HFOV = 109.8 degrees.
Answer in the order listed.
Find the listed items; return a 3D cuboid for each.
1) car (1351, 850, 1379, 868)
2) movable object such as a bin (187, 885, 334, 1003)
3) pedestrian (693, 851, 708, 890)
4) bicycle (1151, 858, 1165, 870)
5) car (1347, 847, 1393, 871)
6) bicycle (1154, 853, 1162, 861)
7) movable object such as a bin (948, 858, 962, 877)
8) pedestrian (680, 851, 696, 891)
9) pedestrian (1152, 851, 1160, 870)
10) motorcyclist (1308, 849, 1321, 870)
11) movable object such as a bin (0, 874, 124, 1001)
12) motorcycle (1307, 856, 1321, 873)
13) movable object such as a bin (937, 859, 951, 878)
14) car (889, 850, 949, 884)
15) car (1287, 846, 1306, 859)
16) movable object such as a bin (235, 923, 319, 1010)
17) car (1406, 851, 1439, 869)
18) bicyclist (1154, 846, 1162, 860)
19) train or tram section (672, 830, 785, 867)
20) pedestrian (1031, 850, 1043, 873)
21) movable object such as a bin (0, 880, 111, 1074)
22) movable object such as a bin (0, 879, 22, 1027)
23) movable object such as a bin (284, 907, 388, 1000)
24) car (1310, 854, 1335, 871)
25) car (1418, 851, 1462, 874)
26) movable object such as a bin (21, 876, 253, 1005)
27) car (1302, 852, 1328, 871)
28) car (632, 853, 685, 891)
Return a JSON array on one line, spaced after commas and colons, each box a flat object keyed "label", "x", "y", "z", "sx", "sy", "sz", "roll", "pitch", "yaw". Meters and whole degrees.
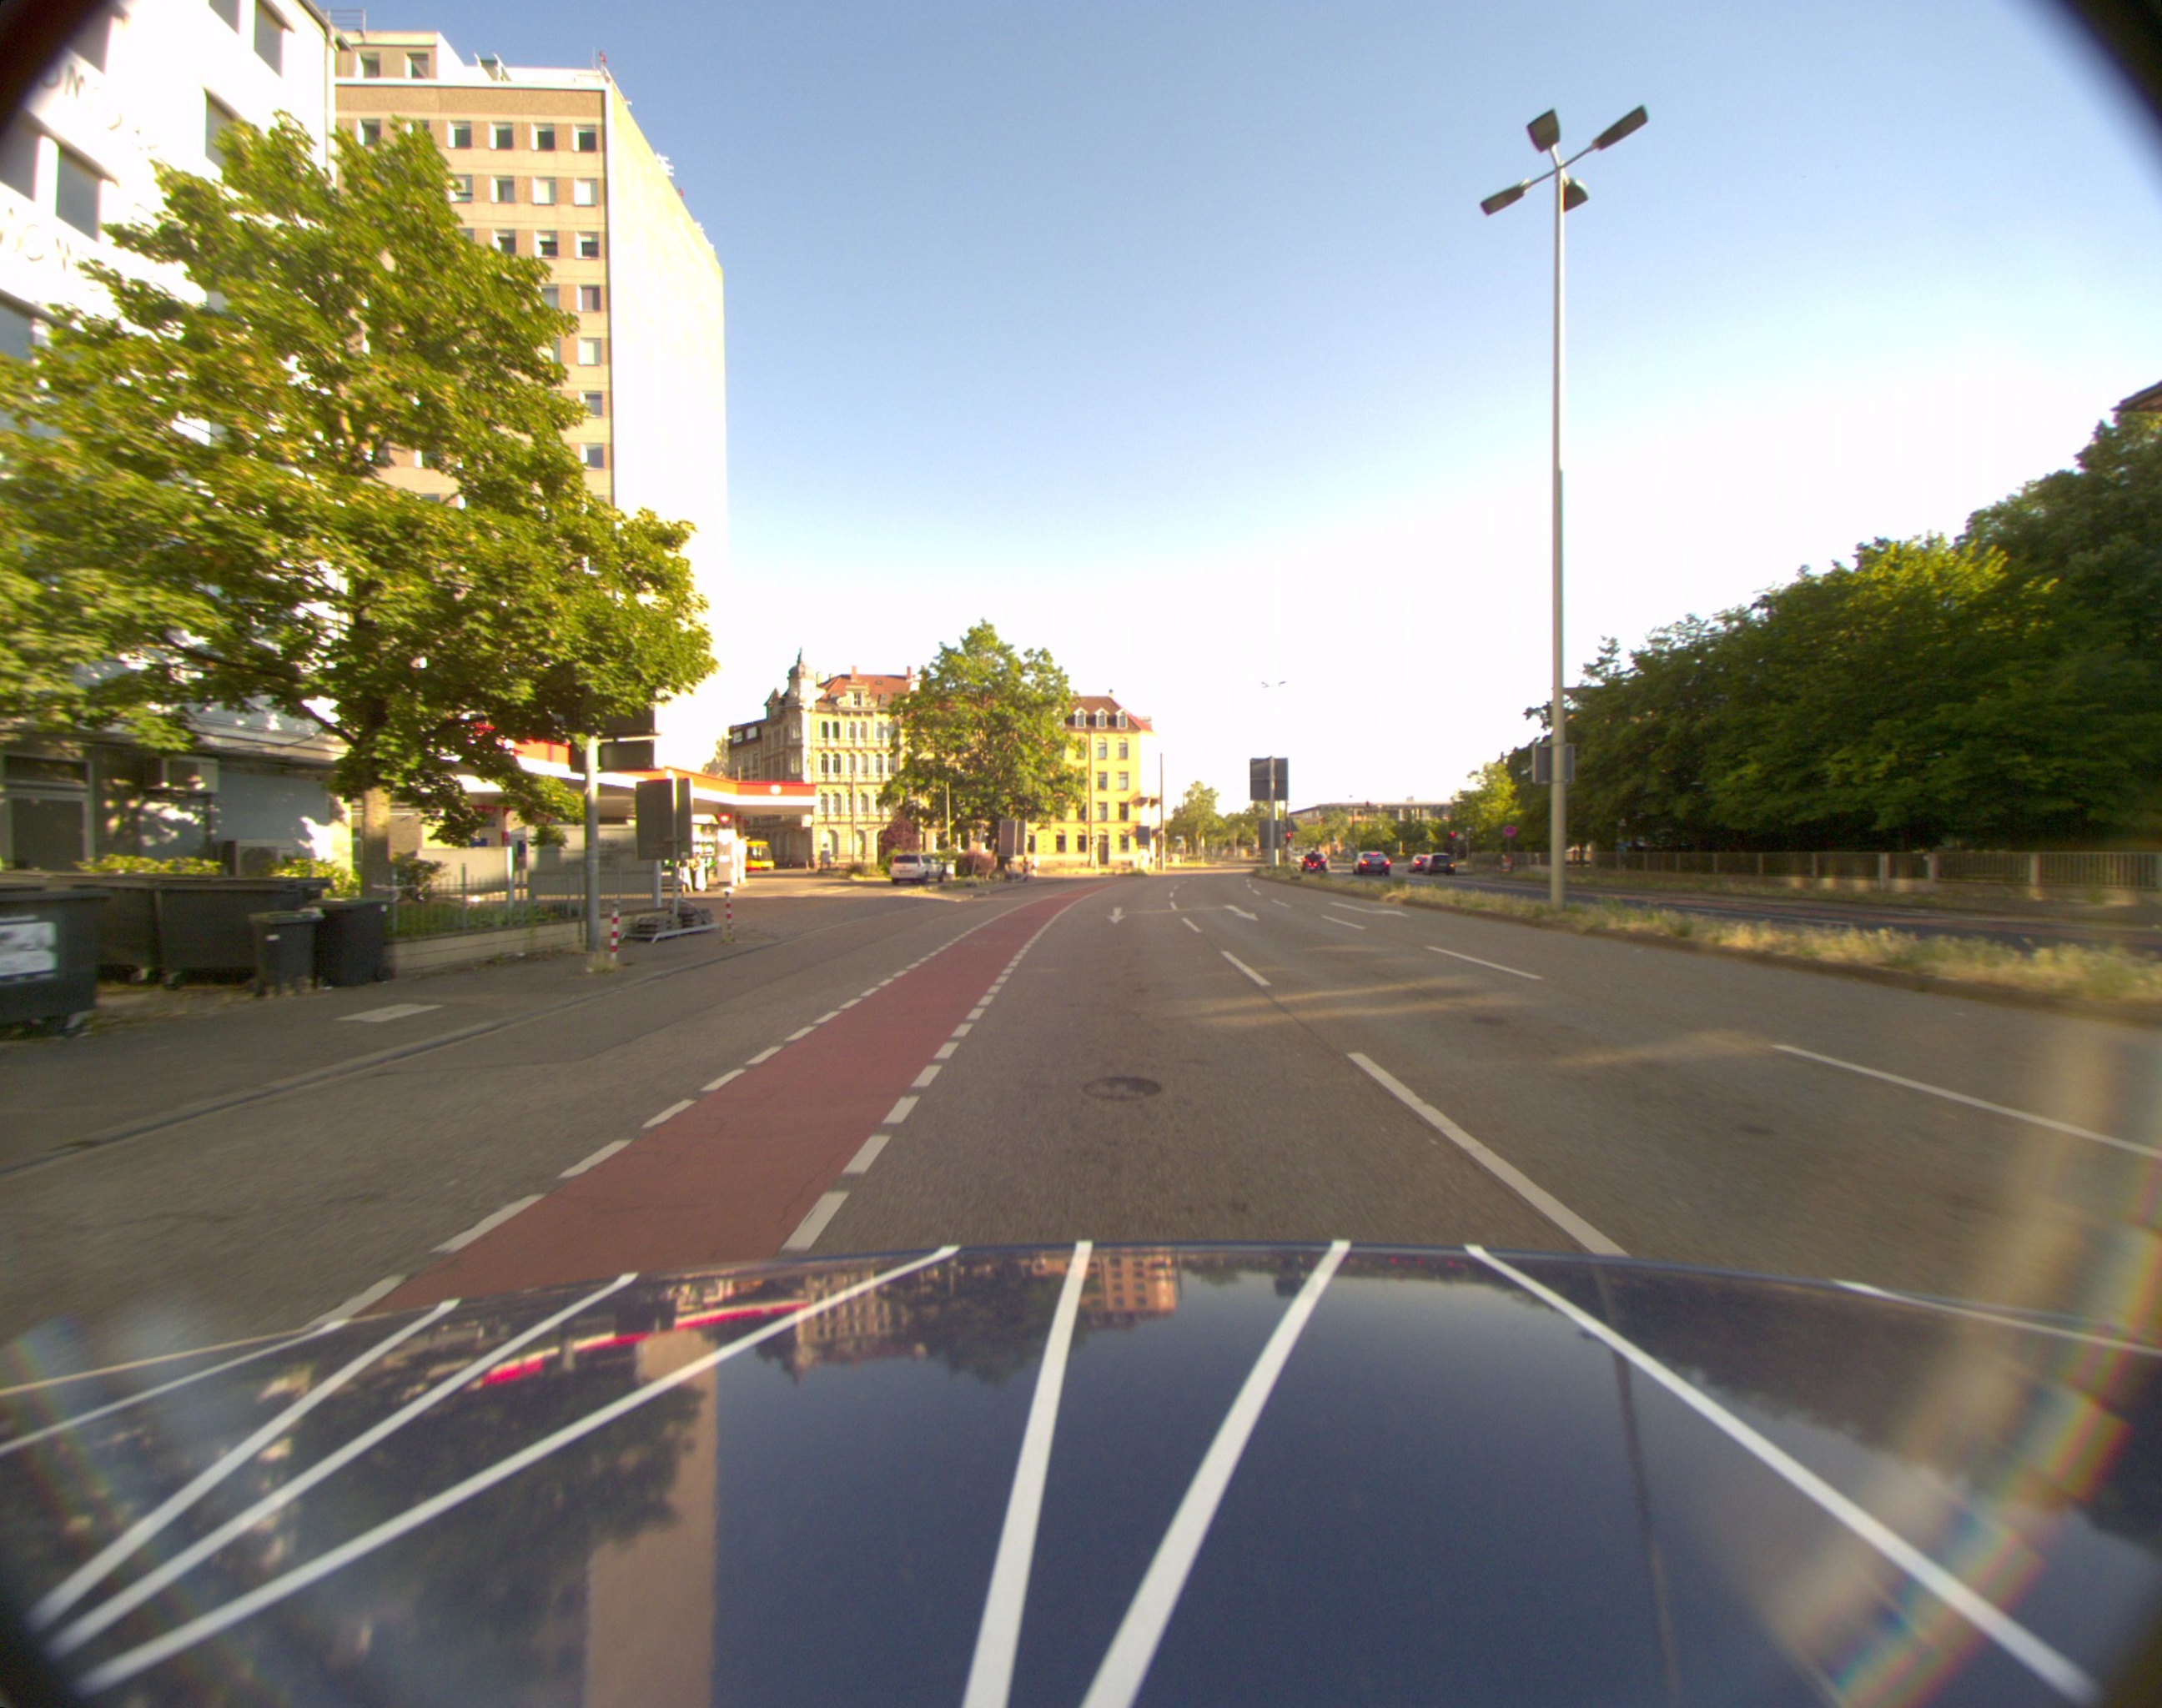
[{"label": "car", "x": 21.338, "y": 0.345, "z": 57.201, "sx": 1.721, "sy": 1.311, "sz": 3.899, "roll": 0, "pitch": 0, "yaw": 16}, {"label": "movable object such as a bin", "x": -9.699, "y": 1.035, "z": 9.020, "sx": 0.779, "sy": 1.301, "sz": 0.865, "roll": 0, "pitch": 1, "yaw": 0}, {"label": "pedestrian", "x": -15.771, "y": 0.671, "z": 31.490, "sx": 0.535, "sy": 1.612, "sz": 0.567, "roll": -1, "pitch": 1, "yaw": -26}, {"label": "bicycle", "x": 6.857, "y": 0.899, "z": 67.839, "sx": 0.398, "sy": 1.023, "sz": 1.675, "roll": 0, "pitch": 1, "yaw": 37}, {"label": "car", "x": 18.831, "y": 0.297, "z": 49.704, "sx": 1.997, "sy": 1.487, "sz": 5.297, "roll": 0, "pitch": 0, "yaw": 12}, {"label": "bicycle", "x": 10.309, "y": 0.447, "z": 101.951, "sx": 1.071, "sy": 1.018, "sz": 2.976, "roll": 0, "pitch": 0, "yaw": 6}, {"label": "movable object such as a bin", "x": -6.913, "y": 0.752, "z": 41.761, "sx": 0.573, "sy": 1.023, "sz": 0.674, "roll": 0, "pitch": 1, "yaw": 5}, {"label": "pedestrian", "x": -15.828, "y": 0.670, "z": 30.604, "sx": 0.535, "sy": 1.612, "sz": 0.567, "roll": -1, "pitch": 1, "yaw": -23}, {"label": "pedestrian", "x": 6.707, "y": 0.583, "z": 67.854, "sx": 0.488, "sy": 1.622, "sz": 0.526, "roll": 0, "pitch": 1, "yaw": 36}, {"label": "motorcyclist", "x": 15.563, "y": 0.382, "z": 50.669, "sx": 0.852, "sy": 1.390, "sz": 1.063, "roll": 0, "pitch": 1, "yaw": 18}, {"label": "movable object such as a bin", "x": -12.581, "y": 0.955, "z": 8.988, "sx": 1.409, "sy": 1.402, "sz": 0.865, "roll": 0, "pitch": 1, "yaw": 0}, {"label": "motorcycle", "x": 15.590, "y": 0.665, "z": 50.788, "sx": 0.859, "sy": 1.101, "sz": 2.473, "roll": 0, "pitch": 0, "yaw": 18}, {"label": "movable object such as a bin", "x": -7.533, "y": 0.782, "z": 41.794, "sx": 0.573, "sy": 1.023, "sz": 0.674, "roll": 0, "pitch": 1, "yaw": 5}, {"label": "car", "x": -7.855, "y": 0.596, "z": 37.195, "sx": 1.622, "sy": 1.584, "sz": 3.896, "roll": 0, "pitch": 1, "yaw": 8}, {"label": "car", "x": 27.891, "y": -0.210, "z": 98.566, "sx": 1.997, "sy": 1.565, "sz": 4.003, "roll": 0, "pitch": 0, "yaw": 11}, {"label": "movable object such as a bin", "x": -9.047, "y": 1.256, "z": 8.561, "sx": 0.393, "sy": 0.901, "sz": 0.490, "roll": 0, "pitch": 1, "yaw": 4}, {"label": "car", "x": 25.591, "y": 0.431, "z": 57.087, "sx": 1.721, "sy": 1.289, "sz": 3.899, "roll": 0, "pitch": 0, "yaw": 16}, {"label": "bicyclist", "x": 10.307, "y": -0.175, "z": 101.825, "sx": 1.071, "sy": 1.831, "sz": 1.304, "roll": 0, "pitch": 1, "yaw": 6}, {"label": "train or tram section", "x": -35.168, "y": -0.496, "z": 75.760, "sx": 11.272, "sy": 3.487, "sz": 2.874, "roll": 0, "pitch": 1, "yaw": 19}, {"label": "pedestrian", "x": -3.524, "y": 0.588, "z": 60.731, "sx": 0.826, "sy": 1.778, "sz": 0.911, "roll": 0, "pitch": 1, "yaw": 2}, {"label": "movable object such as a bin", "x": -9.198, "y": 1.015, "z": 6.100, "sx": 1.095, "sy": 1.500, "sz": 1.253, "roll": -1, "pitch": 3, "yaw": 1}, {"label": "movable object such as a bin", "x": -11.125, "y": 0.937, "z": 6.883, "sx": 1.311, "sy": 1.425, "sz": 1.280, "roll": 1, "pitch": 0, "yaw": 6}, {"label": "movable object such as a bin", "x": -8.927, "y": 1.177, "z": 9.124, "sx": 0.620, "sy": 1.040, "sz": 0.616, "roll": 0, "pitch": 1, "yaw": 4}, {"label": "car", "x": 19.490, "y": 0.645, "z": 61.241, "sx": 1.720, "sy": 1.289, "sz": 4.255, "roll": 0, "pitch": 0, "yaw": 19}, {"label": "car", "x": 24.008, "y": 0.551, "z": 50.965, "sx": 1.856, "sy": 1.455, "sz": 4.004, "roll": -1, "pitch": 0, "yaw": 13}, {"label": "movable object such as a bin", "x": -10.995, "y": 0.975, "z": 8.904, "sx": 1.612, "sy": 1.402, "sz": 0.865, "roll": 0, "pitch": 1, "yaw": 0}, {"label": "car", "x": 16.999, "y": 0.500, "z": 55.123, "sx": 1.720, "sy": 1.289, "sz": 4.382, "roll": 0, "pitch": 0, "yaw": 18}, {"label": "car", "x": -17.466, "y": 0.705, "z": 31.527, "sx": 1.592, "sy": 1.431, "sz": 3.295, "roll": 0, "pitch": 1, "yaw": -23}]
